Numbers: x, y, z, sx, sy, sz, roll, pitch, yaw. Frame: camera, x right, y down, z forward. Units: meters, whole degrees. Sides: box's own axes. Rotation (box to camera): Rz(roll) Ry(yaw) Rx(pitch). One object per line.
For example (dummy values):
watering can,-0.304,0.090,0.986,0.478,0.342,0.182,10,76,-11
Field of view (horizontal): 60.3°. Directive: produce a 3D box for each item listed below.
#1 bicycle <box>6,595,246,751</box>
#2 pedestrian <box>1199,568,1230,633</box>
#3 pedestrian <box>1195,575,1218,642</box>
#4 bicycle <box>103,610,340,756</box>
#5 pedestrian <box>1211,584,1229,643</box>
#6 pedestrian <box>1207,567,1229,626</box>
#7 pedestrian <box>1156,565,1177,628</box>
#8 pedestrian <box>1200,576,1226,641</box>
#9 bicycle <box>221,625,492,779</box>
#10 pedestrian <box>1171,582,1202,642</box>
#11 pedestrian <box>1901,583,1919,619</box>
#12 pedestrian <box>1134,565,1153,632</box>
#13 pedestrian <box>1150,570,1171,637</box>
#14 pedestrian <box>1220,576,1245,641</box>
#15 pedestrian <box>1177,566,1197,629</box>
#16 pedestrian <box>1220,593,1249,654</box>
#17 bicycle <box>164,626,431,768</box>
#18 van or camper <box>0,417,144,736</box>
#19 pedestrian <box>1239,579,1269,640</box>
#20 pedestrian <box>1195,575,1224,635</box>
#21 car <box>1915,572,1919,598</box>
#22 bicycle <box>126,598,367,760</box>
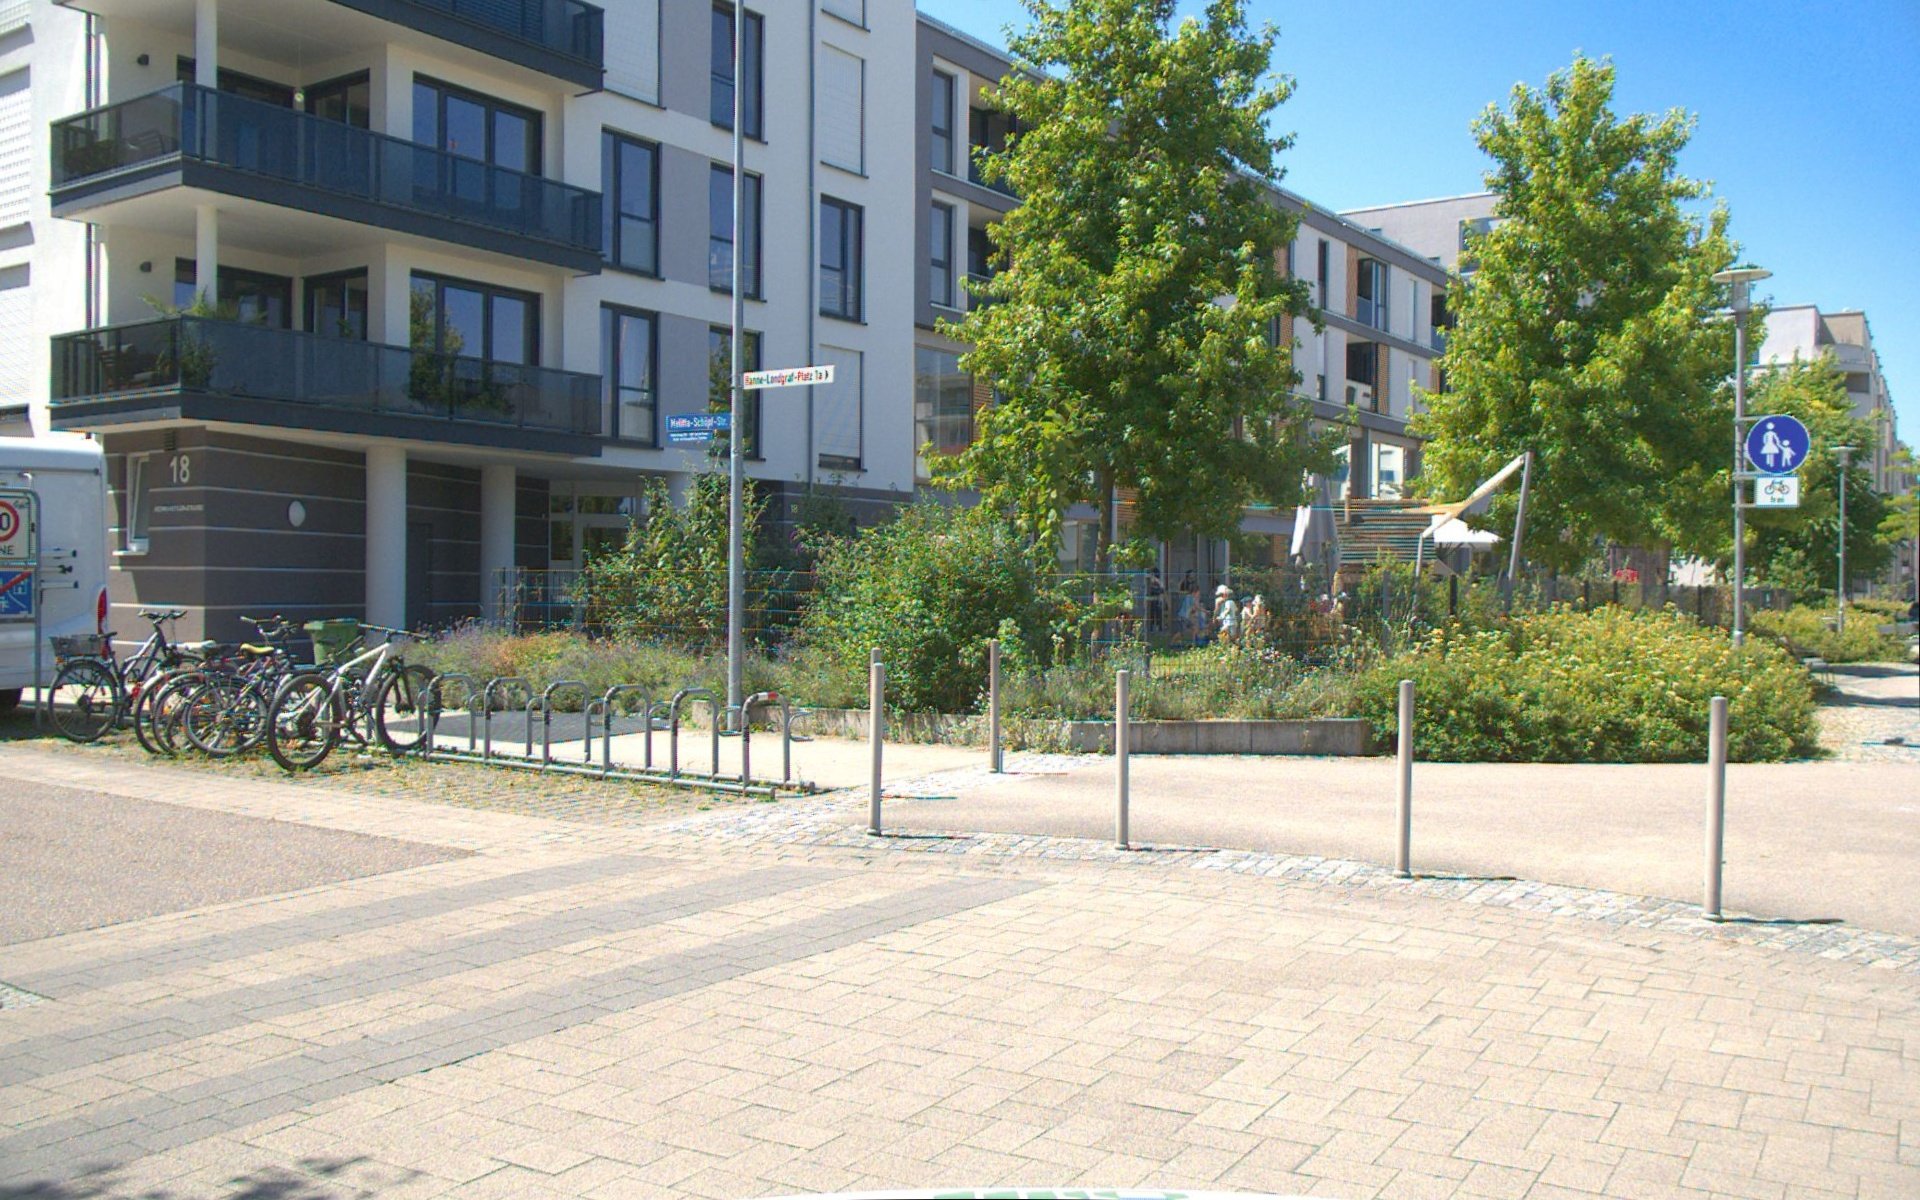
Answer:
bicycle,-7.644,0.624,15.274,0.807,1.244,1.923,0,3,20
pedestrian,4.167,0.010,27.082,0.405,1.043,0.280,1,-1,-23
pedestrian,3.994,0.137,26.767,0.284,1.072,0.288,0,0,-12
bicycle,-6.336,0.679,14.299,0.466,1.130,1.882,0,1,36
pedestrian,4.731,0.239,30.095,0.314,1.072,0.291,0,0,13
pedestrian,6.778,-0.085,43.496,0.453,1.534,0.396,1,0,-10
pedestrian,5.068,-0.075,40.617,0.388,1.534,0.462,1,0,-6
pedestrian,4.204,0.133,27.478,0.287,1.072,0.318,0,0,-36
bicycle,-4.751,0.763,13.200,0.855,1.020,2.033,0,2,23
pedestrian,3.834,0.200,28.011,0.363,1.003,0.410,0,-1,39
pedestrian,35.975,0.037,62.339,0.832,1.371,0.694,1,1,32
pedestrian,4.759,-0.041,42.876,0.329,1.720,0.462,1,0,28
pedestrian,5.188,0.081,42.848,0.388,1.720,0.462,1,0,28
pedestrian,4.492,0.137,27.282,0.287,1.072,0.283,0,0,-36
pedestrian,5.563,-0.071,40.576,0.388,1.534,0.462,1,0,-6
pedestrian,4.779,0.404,28.760,0.388,1.044,0.412,0,-1,25
bicycle,-5.495,0.770,13.773,1.844,0.992,0.930,-3,2,-42
van or camper,-11.957,-0.195,17.663,7.666,2.957,2.438,0,0,35
pedestrian,4.802,0.145,27.034,0.288,0.988,0.382,0,0,-43
pedestrian,4.434,0.088,29.412,0.405,1.043,0.312,1,-1,-23
car,65.295,-1.001,110.770,2.108,1.681,4.077,1,0,32
bicycle,-6.035,0.630,14.085,0.544,1.244,1.849,0,2,36
